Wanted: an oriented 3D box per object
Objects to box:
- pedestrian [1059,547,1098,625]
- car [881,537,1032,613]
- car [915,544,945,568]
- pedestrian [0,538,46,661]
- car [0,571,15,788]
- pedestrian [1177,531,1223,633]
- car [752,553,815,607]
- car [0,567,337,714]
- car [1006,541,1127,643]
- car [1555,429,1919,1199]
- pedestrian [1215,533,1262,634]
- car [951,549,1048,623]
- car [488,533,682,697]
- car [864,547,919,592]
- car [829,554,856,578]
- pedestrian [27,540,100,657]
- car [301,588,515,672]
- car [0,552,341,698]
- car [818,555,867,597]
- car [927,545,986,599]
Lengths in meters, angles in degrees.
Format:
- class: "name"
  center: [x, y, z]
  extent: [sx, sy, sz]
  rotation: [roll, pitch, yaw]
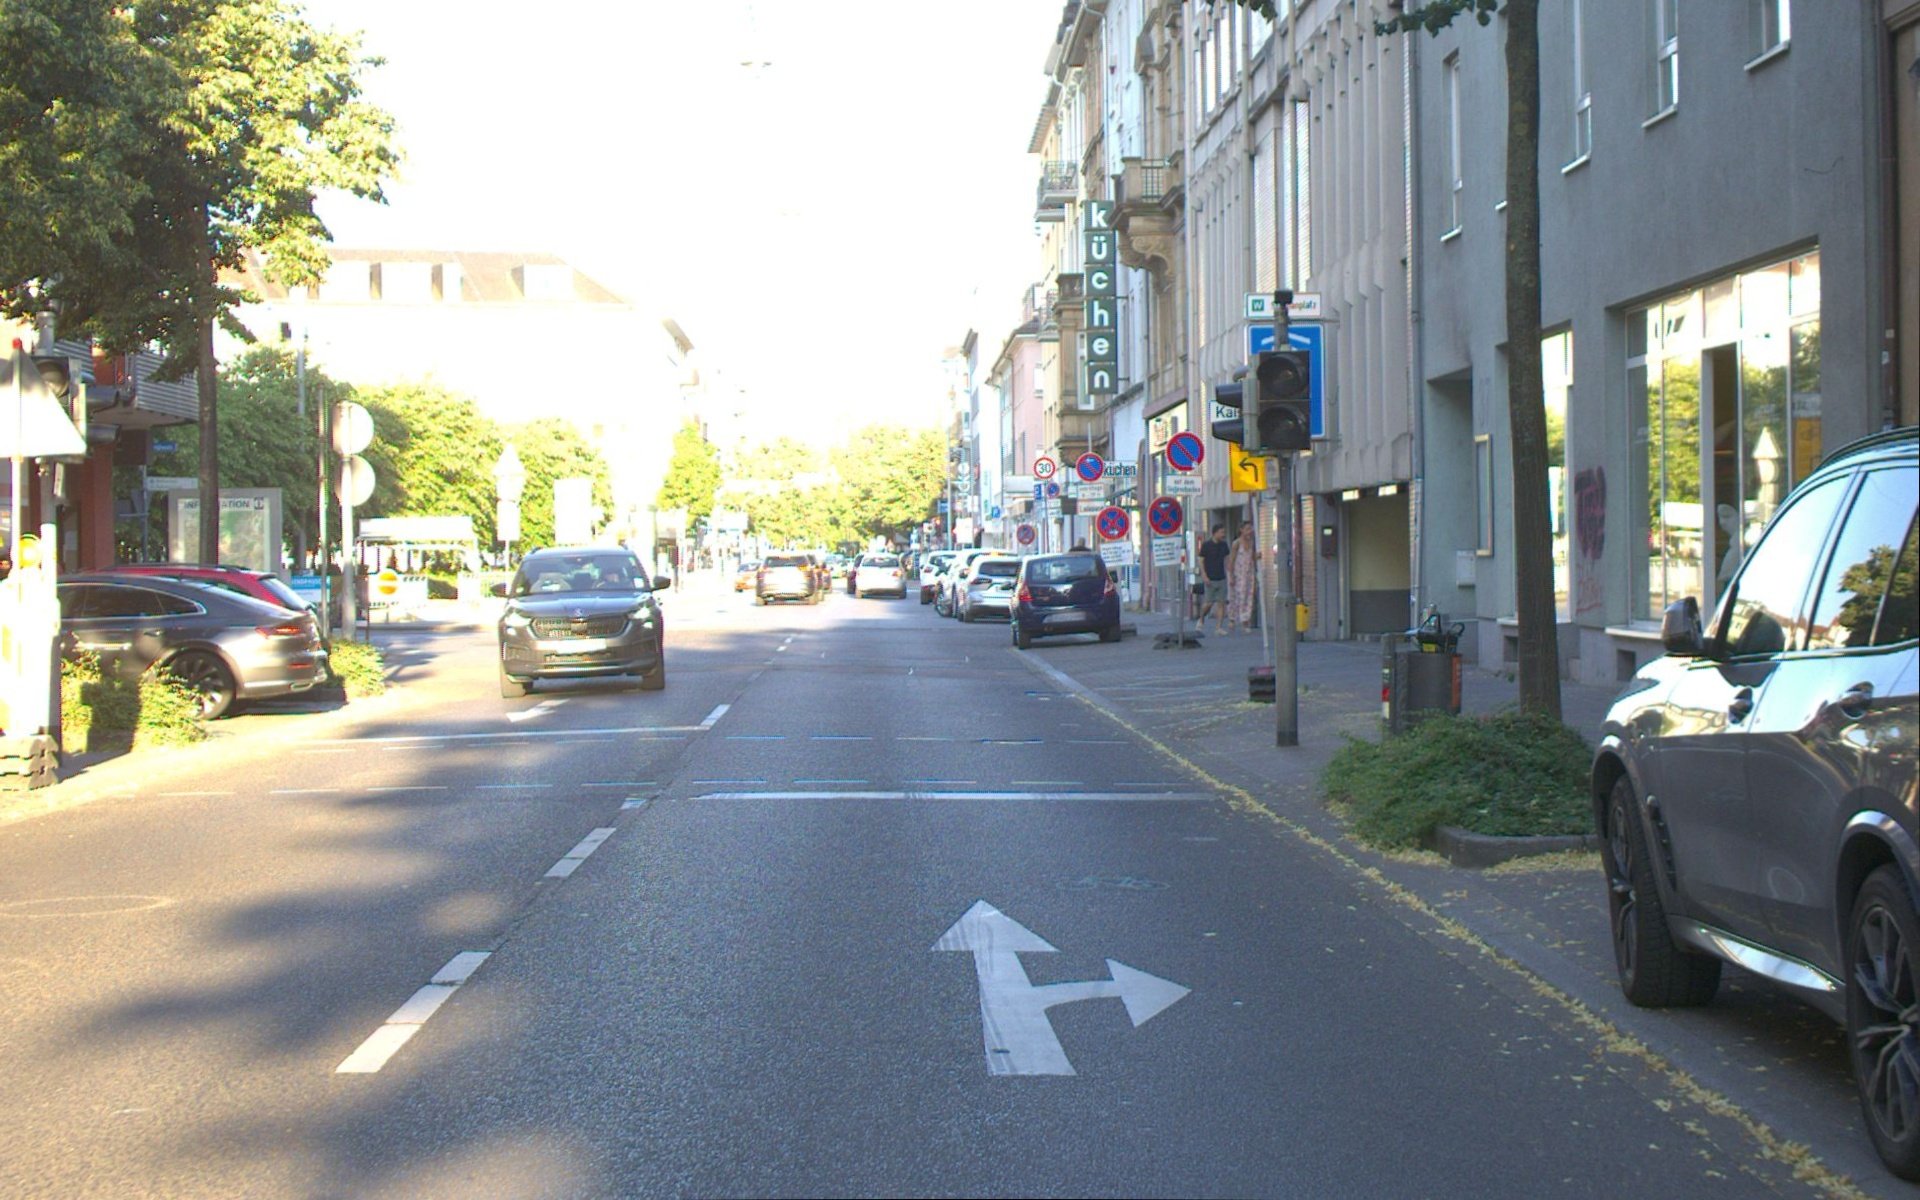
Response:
- class: "pedestrian"
  center: [2.817, -0.342, 81.934]
  extent: [0.772, 1.821, 1.011]
  rotation: [-2, 1, -2]
- class: "car"
  center: [-0.130, -0.606, 83.125]
  extent: [1.993, 1.755, 4.466]
  rotation: [-1, 1, -24]
- class: "car"
  center: [-2.008, -2.909, 228.904]
  extent: [1.896, 1.575, 3.852]
  rotation: [0, 1, -2]
- class: "pedestrian"
  center: [-12.537, 0.002, 45.245]
  extent: [0.772, 1.602, 0.876]
  rotation: [0, -1, -1]
- class: "car"
  center: [-8.207, 0.511, 21.556]
  extent: [4.106, 1.399, 1.884]
  rotation: [0, 1, -4]
- class: "pedestrian"
  center: [3.819, -0.290, 54.677]
  extent: [0.604, 1.594, 0.774]
  rotation: [0, 1, -5]
- class: "car"
  center: [-5.504, -0.639, 107.785]
  extent: [1.896, 1.644, 4.104]
  rotation: [0, 1, -2]
- class: "car"
  center: [-8.602, 0.381, 34.087]
  extent: [4.570, 1.403, 1.822]
  rotation: [0, 1, -3]
- class: "car"
  center: [1.728, -0.157, 57.041]
  extent: [1.759, 1.531, 4.000]
  rotation: [-4, 1, 0]
- class: "car"
  center: [3.093, 0.411, 9.254]
  extent: [2.038, 1.731, 4.711]
  rotation: [-3, 1, -1]
- class: "pedestrian"
  center: [4.432, -0.273, 54.734]
  extent: [0.604, 1.594, 0.774]
  rotation: [0, 1, -5]
- class: "car"
  center: [0.843, -0.299, 75.560]
  extent: [1.758, 1.531, 4.822]
  rotation: [1, 0, -3]
- class: "car"
  center: [-4.265, 0.119, 39.724]
  extent: [1.861, 1.686, 4.461]
  rotation: [-1, 2, -2]
- class: "car"
  center: [-2.468, -1.099, 123.724]
  extent: [1.896, 1.576, 4.000]
  rotation: [1, 1, -2]
- class: "car"
  center: [-7.919, -2.297, 231.854]
  extent: [1.779, 1.542, 4.000]
  rotation: [0, 1, -2]
- class: "pedestrian"
  center: [-11.851, -0.016, 45.454]
  extent: [0.734, 1.523, 0.876]
  rotation: [0, -1, -1]
- class: "car"
  center: [-10.822, 0.580, 67.605]
  extent: [3.986, 1.576, 1.903]
  rotation: [1, 0, -4]
- class: "car"
  center: [-8.897, 0.251, 37.224]
  extent: [4.072, 1.531, 1.884]
  rotation: [0, 1, -1]
- class: "car"
  center: [-4.681, -0.948, 136.833]
  extent: [1.896, 1.576, 3.852]
  rotation: [2, 1, -2]
- class: "car"
  center: [-0.129, -0.895, 109.711]
  extent: [1.729, 1.645, 4.285]
  rotation: [1, 1, -2]
